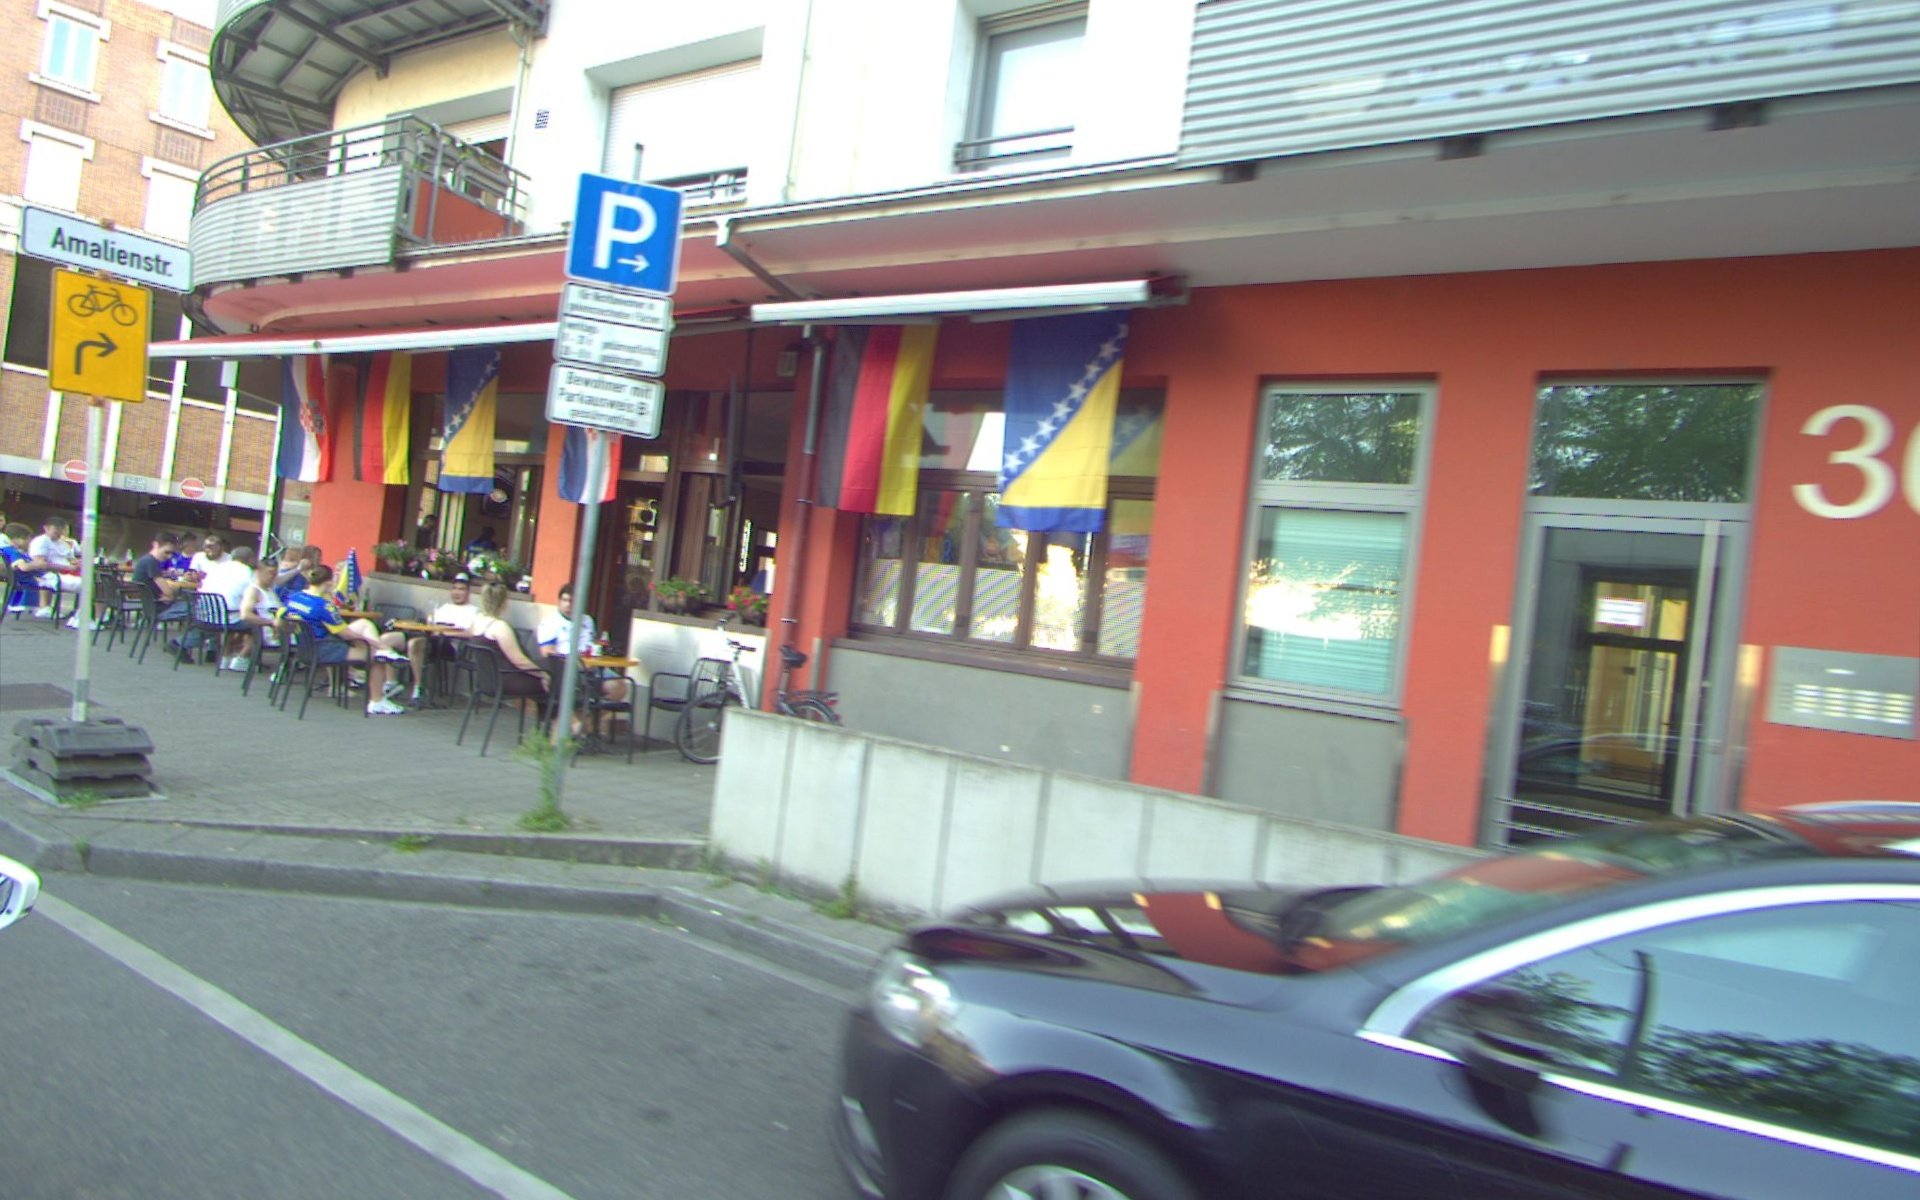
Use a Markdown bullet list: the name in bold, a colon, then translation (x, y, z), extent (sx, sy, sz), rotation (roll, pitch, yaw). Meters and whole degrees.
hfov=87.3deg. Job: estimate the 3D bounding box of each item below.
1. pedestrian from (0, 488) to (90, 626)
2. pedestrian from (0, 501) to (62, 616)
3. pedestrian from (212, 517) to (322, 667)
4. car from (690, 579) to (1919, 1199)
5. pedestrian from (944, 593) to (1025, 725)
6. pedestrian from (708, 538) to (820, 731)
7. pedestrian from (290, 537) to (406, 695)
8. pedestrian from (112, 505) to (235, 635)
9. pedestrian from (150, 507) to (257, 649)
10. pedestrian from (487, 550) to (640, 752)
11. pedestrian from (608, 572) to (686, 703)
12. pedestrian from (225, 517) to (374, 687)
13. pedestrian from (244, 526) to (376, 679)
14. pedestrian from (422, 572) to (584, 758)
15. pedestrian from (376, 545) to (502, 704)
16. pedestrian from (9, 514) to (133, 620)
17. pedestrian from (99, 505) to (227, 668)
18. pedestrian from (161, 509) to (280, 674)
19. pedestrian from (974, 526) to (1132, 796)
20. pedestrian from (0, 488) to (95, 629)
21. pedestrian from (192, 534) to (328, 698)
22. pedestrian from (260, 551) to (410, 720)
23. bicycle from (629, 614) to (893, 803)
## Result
- **pedestrian**: translation (-11.169, -0.515, 12.259), extent (0.710, 1.554, 0.681), rotation (7, -1, -44)
- **pedestrian**: translation (-12.193, -0.549, 12.737), extent (0.823, 1.399, 0.771), rotation (6, 0, 4)
- **pedestrian**: translation (-7.673, -0.078, 11.143), extent (0.643, 1.556, 0.674), rotation (7, 2, 27)
- **car**: translation (1.847, 1.054, 2.028), extent (4.554, 1.569, 1.878), rotation (6, -3, 32)
- **pedestrian**: translation (0.359, 0.859, 14.728), extent (0.750, 1.814, 0.648), rotation (6, -1, 40)
- **pedestrian**: translation (-1.886, 0.342, 9.740), extent (0.607, 1.759, 0.612), rotation (7, -1, 28)
- **pedestrian**: translation (-6.003, 0.164, 9.884), extent (0.551, 1.452, 0.667), rotation (7, 1, 27)
- **pedestrian**: translation (-10.359, -0.372, 13.277), extent (0.838, 1.553, 0.714), rotation (8, -2, -5)
- **pedestrian**: translation (-9.021, -0.250, 12.037), extent (0.744, 1.553, 0.644), rotation (9, -2, -28)
- **pedestrian**: translation (-3.359, 0.436, 8.597), extent (0.701, 1.553, 0.854), rotation (8, -2, 7)
- **pedestrian**: translation (-4.525, 0.555, 14.563), extent (0.606, 1.797, 0.612), rotation (7, -1, 22)
- **pedestrian**: translation (-6.609, 0.040, 10.098), extent (0.667, 1.553, 0.853), rotation (7, -2, 26)
- **pedestrian**: translation (-7.032, 0.042, 10.905), extent (0.769, 1.522, 0.769), rotation (7, -1, 27)
- **pedestrian**: translation (-3.479, 0.488, 7.729), extent (0.701, 1.293, 0.854), rotation (4, -1, 7)
- **pedestrian**: translation (-5.099, 0.254, 9.860), extent (0.592, 1.437, 0.714), rotation (7, -2, 28)
- **pedestrian**: translation (-11.885, -0.427, 13.473), extent (0.949, 1.297, 0.686), rotation (5, -1, 4)
- **pedestrian**: translation (-8.207, -0.137, 10.372), extent (0.746, 1.556, 0.713), rotation (7, 3, 25)
- **pedestrian**: translation (-7.462, -0.085, 10.161), extent (0.688, 1.548, 0.649), rotation (7, 3, 25)
- **pedestrian**: translation (0.755, 0.477, 8.134), extent (0.803, 2.037, 0.667), rotation (6, -1, 40)
- **pedestrian**: translation (-10.692, -0.481, 11.681), extent (0.839, 1.557, 0.712), rotation (7, 3, 31)
- **pedestrian**: translation (-6.330, 0.144, 9.111), extent (0.736, 1.362, 0.654), rotation (7, 2, 27)
- **pedestrian**: translation (-5.360, 0.302, 8.624), extent (0.872, 1.322, 0.843), rotation (6, 0, -41)
- **bicycle**: translation (-1.549, 0.787, 7.684), extent (1.971, 1.099, 0.550), rotation (7, -2, 29)
